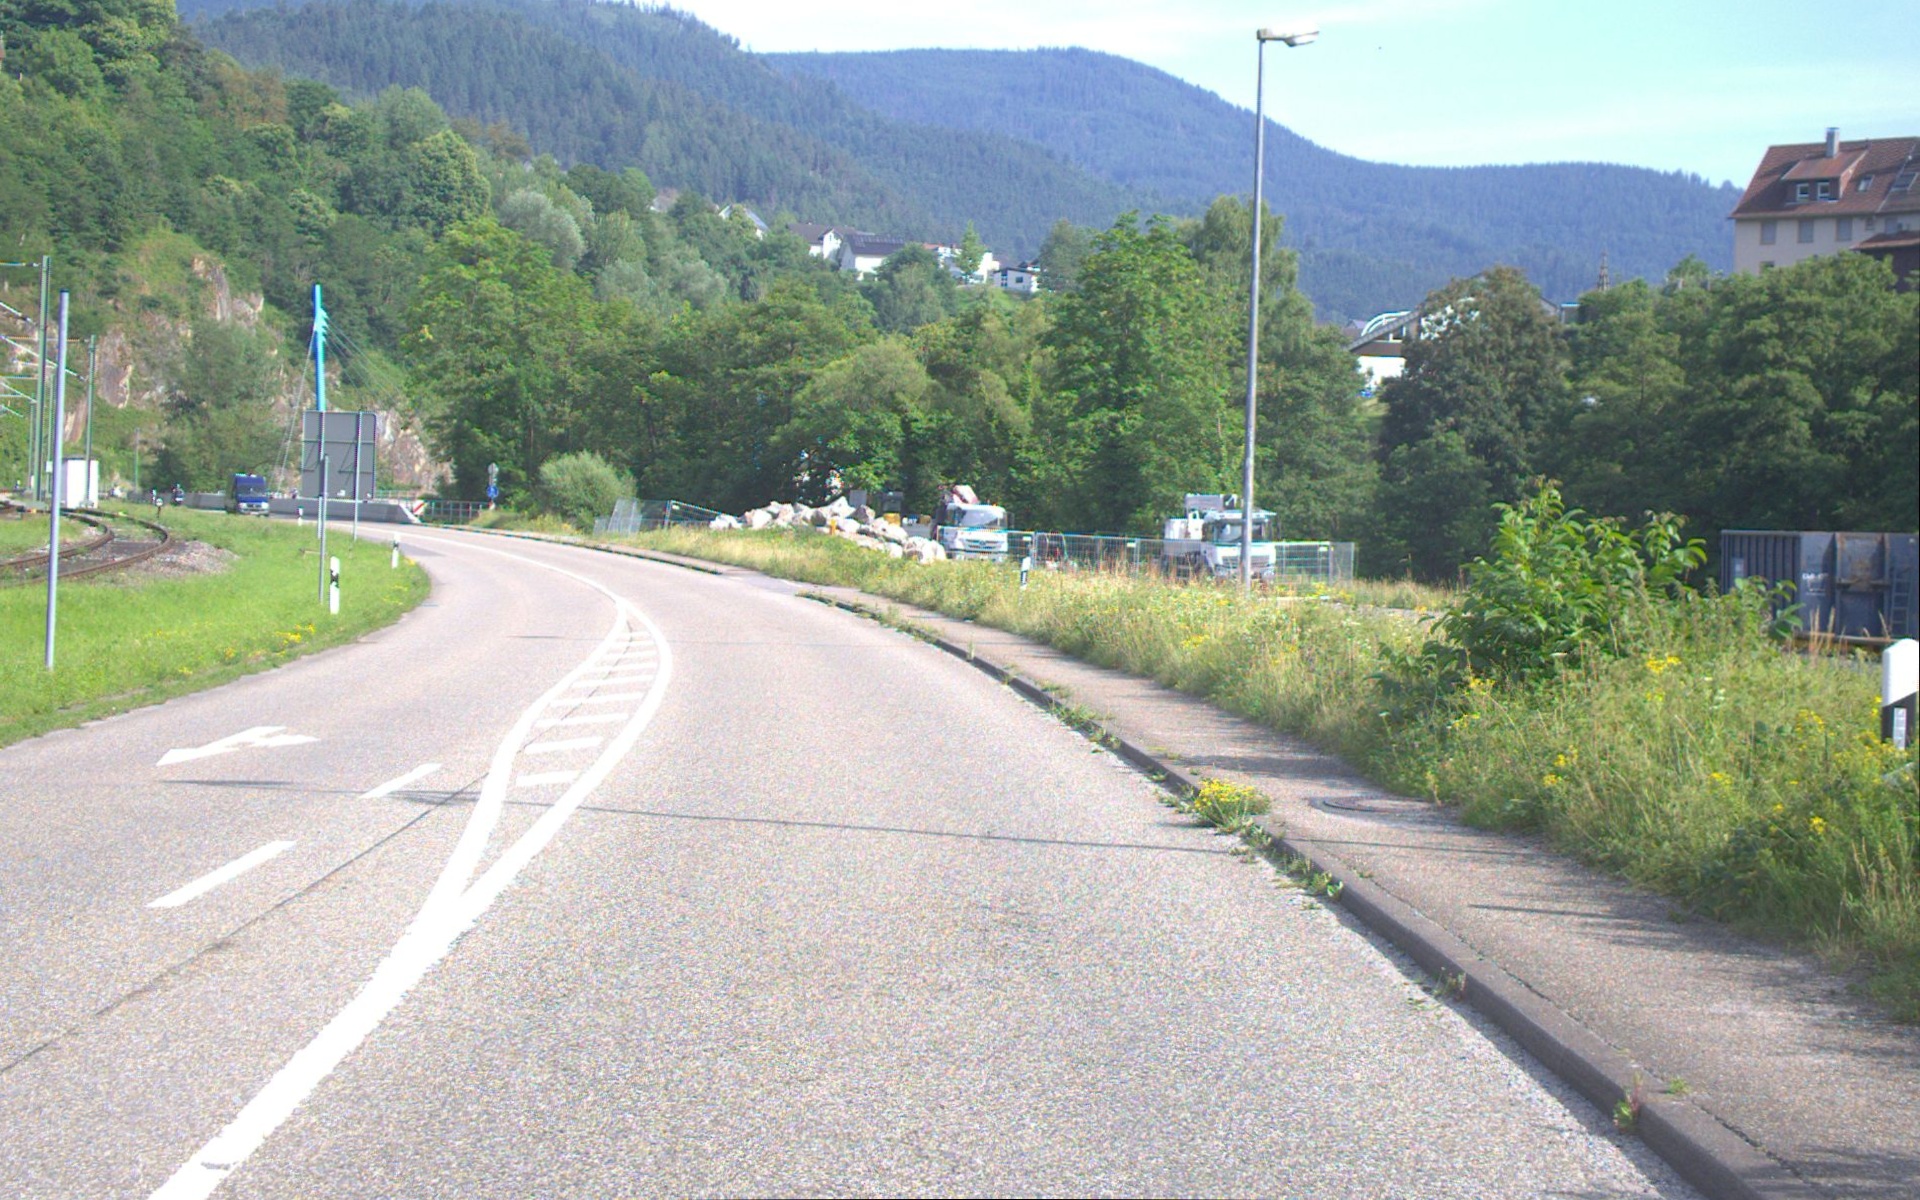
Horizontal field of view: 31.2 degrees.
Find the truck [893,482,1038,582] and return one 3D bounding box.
[{"bbox_3d":[0.143,-2.817,139.272,3.102,3.769,8.648,3,1,-18],"label":"truck"}]

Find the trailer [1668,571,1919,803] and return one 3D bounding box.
[{"bbox_3d":[7.786,0.696,24.500,2.791,1.469,9.889,4,1,-3],"label":"trailer"}]

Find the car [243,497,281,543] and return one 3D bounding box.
[{"bbox_3d":[-40.626,-4.674,200.028,2.126,2.606,5.481,0,2,-12],"label":"car"}]

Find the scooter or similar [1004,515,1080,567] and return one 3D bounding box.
[{"bbox_3d":[3.303,-2.396,138.880,1.993,2.006,4.002,0,2,-15],"label":"scooter or similar"}]

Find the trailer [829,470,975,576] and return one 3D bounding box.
[{"bbox_3d":[-2.603,-3.316,148.104,3.364,4.259,9.912,3,1,-18],"label":"trailer"}]

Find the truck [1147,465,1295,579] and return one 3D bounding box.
[{"bbox_3d":[9.232,-2.818,122.654,3.102,3.769,8.647,3,1,-9],"label":"truck"}]
